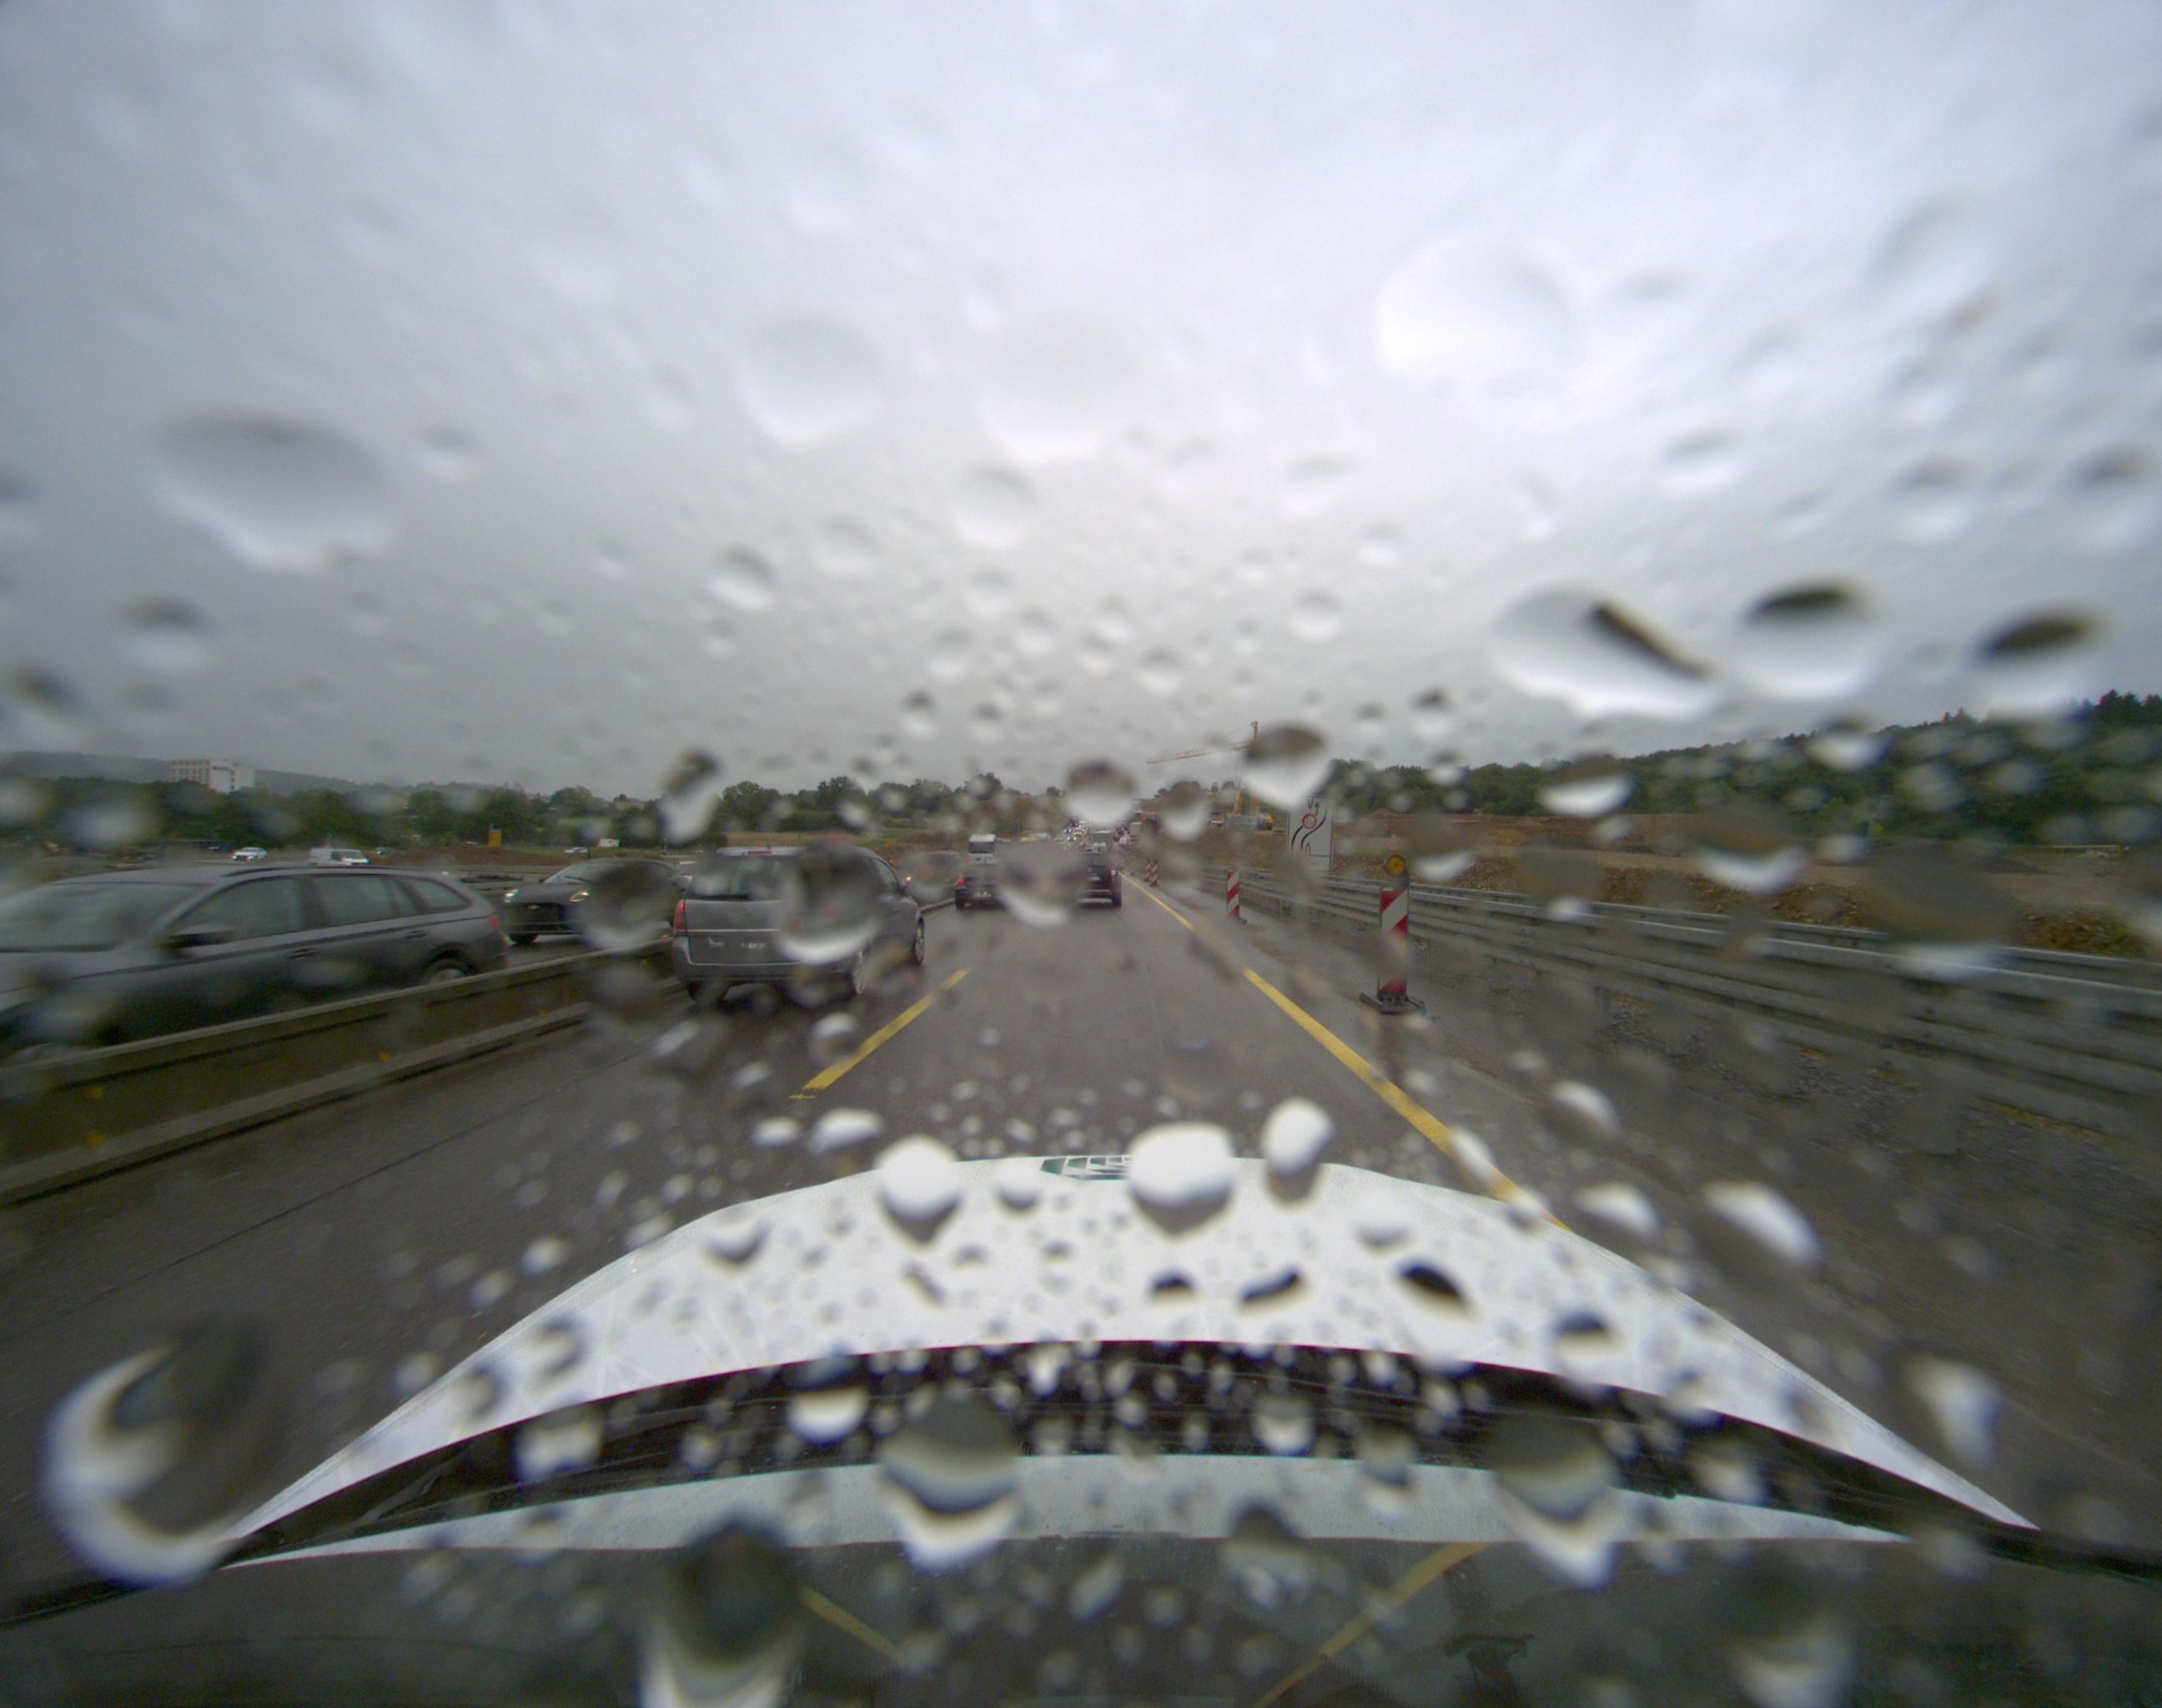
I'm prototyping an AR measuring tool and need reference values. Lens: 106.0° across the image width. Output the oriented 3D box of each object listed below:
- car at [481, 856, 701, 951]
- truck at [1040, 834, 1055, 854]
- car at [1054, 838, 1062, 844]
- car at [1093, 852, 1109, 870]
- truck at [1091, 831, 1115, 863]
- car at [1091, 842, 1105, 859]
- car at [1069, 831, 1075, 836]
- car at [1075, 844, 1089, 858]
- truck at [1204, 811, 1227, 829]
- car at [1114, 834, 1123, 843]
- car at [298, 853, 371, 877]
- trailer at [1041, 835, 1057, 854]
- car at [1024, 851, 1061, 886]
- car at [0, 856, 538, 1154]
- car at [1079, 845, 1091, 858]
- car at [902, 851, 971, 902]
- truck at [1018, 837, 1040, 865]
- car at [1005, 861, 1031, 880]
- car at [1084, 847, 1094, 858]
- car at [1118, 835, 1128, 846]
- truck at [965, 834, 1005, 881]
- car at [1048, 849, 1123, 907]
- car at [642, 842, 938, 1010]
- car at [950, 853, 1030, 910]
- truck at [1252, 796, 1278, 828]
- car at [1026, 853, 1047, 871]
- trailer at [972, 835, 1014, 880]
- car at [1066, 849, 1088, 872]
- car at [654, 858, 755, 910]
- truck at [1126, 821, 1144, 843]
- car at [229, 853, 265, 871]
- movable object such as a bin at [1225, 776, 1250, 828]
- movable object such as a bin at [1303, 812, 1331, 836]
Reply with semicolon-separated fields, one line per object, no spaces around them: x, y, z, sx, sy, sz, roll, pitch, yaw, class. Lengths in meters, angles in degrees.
-9.290;0.846;15.887;1.814;1.496;4.000;-1;1;0;car
-6.277;-1.807;153.473;2.612;3.677;6.595;0;0;0;truck
-5.664;-3.121;198.851;1.782;1.546;4.000;0;1;0;car
2.397;0.850;98.842;1.987;2.163;4.141;0;0;1;car
3.979;-1.175;143.604;3.083;5.426;9.466;0;0;9;truck
2.492;-0.538;120.711;1.987;2.484;4.982;0;0;1;car
-2.619;-5.997;240.074;1.780;1.538;4.312;-1;1;1;car
0.164;-0.415;124.672;1.986;2.163;4.142;0;0;1;car
22.125;-5.605;134.247;2.636;2.554;6.984;0;0;0;truck
9.078;-3.847;198.696;1.987;2.013;4.001;-1;1;1;car
-64.582;0.910;70.456;4.992;2.014;2.281;0;0;15;car
-6.225;-1.812;159.261;2.611;3.677;12.003;0;0;0;trailer
-2.251;0.819;48.940;1.987;2.013;3.893;0;0;0;car
-6.475;0.829;5.914;1.900;1.449;4.413;-3;1;2;car
0.661;-0.390;134.793;1.986;2.163;4.142;0;0;1;car
-5.697;0.841;32.669;1.840;1.748;4.843;-2;1;0;car
-7.628;-0.424;120.334;2.739;4.062;6.149;0;0;1;truck
-5.111;1.353;66.235;1.703;1.453;4.000;0;0;1;car
1.555;-0.332;157.968;1.986;2.163;4.142;0;0;1;car
9.075;-2.911;177.155;1.986;2.484;4.743;0;0;2;car
-8.392;0.333;71.805;2.676;3.927;5.274;-2;0;1;truck
0.191;0.675;24.897;2.073;1.600;4.142;0;0;2;car
-3.160;0.696;9.888;1.986;1.600;4.142;0;0;2;car
-2.666;0.772;24.802;1.987;1.600;4.139;0;0;-1;car
26.217;-5.965;116.102;2.365;4.218;5.979;0;0;0;truck
-4.818;0.868;88.526;1.868;1.793;5.360;-1;0;1;car
-8.303;0.357;77.690;2.676;3.963;9.820;-2;0;1;trailer
-0.384;0.584;79.292;1.988;2.163;4.137;0;0;-2;car
-13.402;1.012;29.312;1.842;1.576;4.264;-3;1;-5;car
13.302;-5.307;202.130;3.791;5.042;12.921;0;0;0;truck
-98.069;0.887;95.824;2.080;2.062;4.792;0;0;-34;car
34.932;-11.409;181.529;4.683;10.842;10.345;0;0;15;movable object such as a bin
37.952;-4.849;131.140;2.335;3.599;6.555;0;0;-2;movable object such as a bin
